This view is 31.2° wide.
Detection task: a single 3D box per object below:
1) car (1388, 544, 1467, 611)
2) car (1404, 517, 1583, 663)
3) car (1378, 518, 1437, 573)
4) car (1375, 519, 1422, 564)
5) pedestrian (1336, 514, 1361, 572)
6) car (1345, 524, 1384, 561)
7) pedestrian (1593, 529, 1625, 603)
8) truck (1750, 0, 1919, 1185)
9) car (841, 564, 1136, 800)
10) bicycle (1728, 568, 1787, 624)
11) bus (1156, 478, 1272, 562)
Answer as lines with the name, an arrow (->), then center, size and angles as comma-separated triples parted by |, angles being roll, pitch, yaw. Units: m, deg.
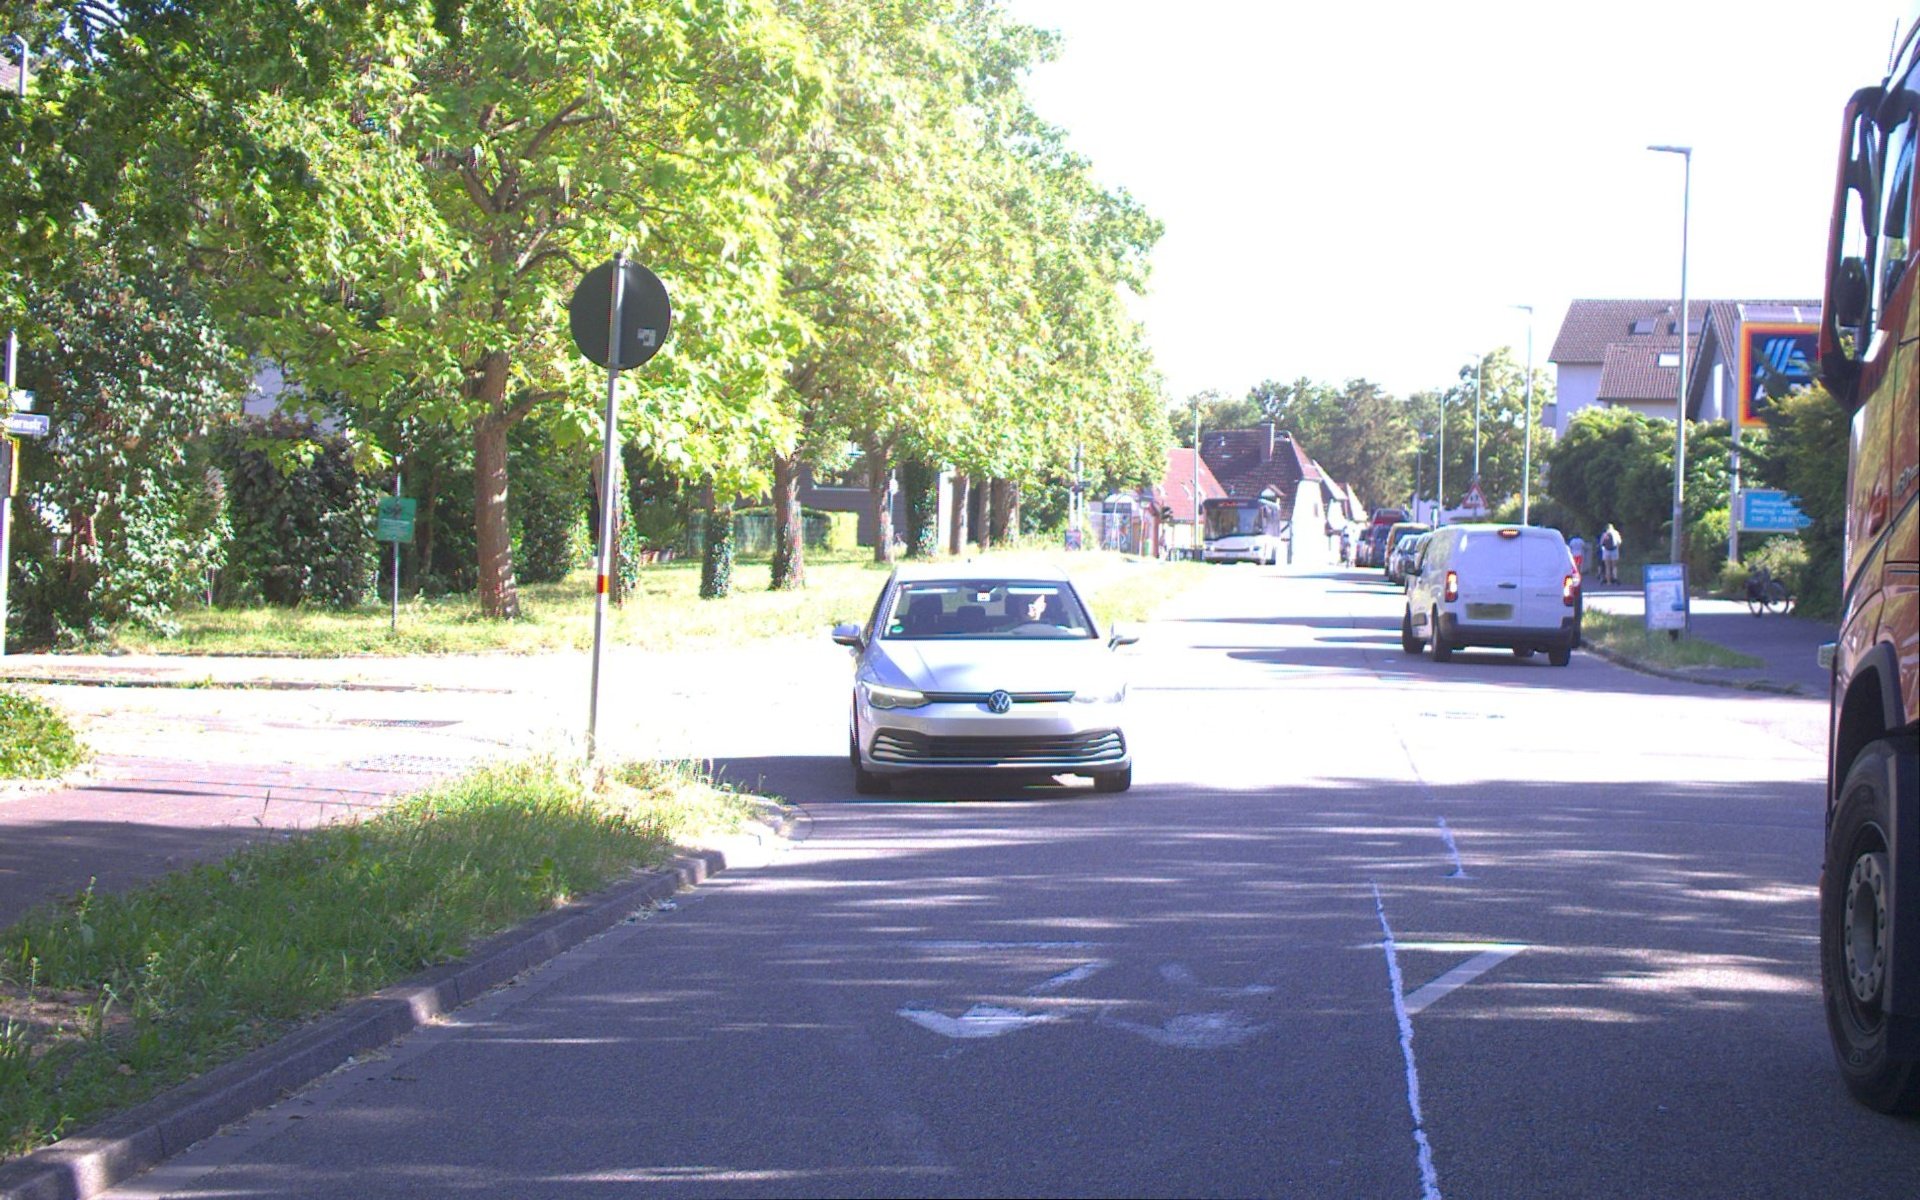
car -> 11.884, -0.593, 87.526 | 1.781, 1.647, 3.999 | 1, 1, 5
car -> 7.178, -0.159, 46.598 | 1.947, 1.836, 4.000 | 2, 1, 3
car -> 15.066, -1.851, 115.899 | 1.781, 1.802, 3.999 | 1, 1, 5
car -> 18.193, -2.426, 142.749 | 1.781, 1.802, 3.999 | 1, 1, 5
pedestrian -> 14.420, -2.106, 127.570 | 0.753, 2.106, 0.799 | 3, 1, 9
car -> 19.864, -2.825, 169.001 | 1.781, 1.802, 3.999 | 1, 1, 5
pedestrian -> 17.990, -0.935, 95.309 | 0.641, 2.007, 0.701 | 3, 1, -1
truck -> 3.496, -0.522, 5.847 | 2.773, 3.982, 10.346 | 3, 1, 6
car -> 0.107, 0.483, 23.073 | 1.805, 1.415, 3.960 | 0, 1, -2
bicycle -> 15.146, -0.072, 65.255 | 0.638, 1.023, 2.161 | 4, 1, 24
bus -> 10.600, -3.284, 142.456 | 4.066, 3.337, 9.797 | 1, 1, 8
